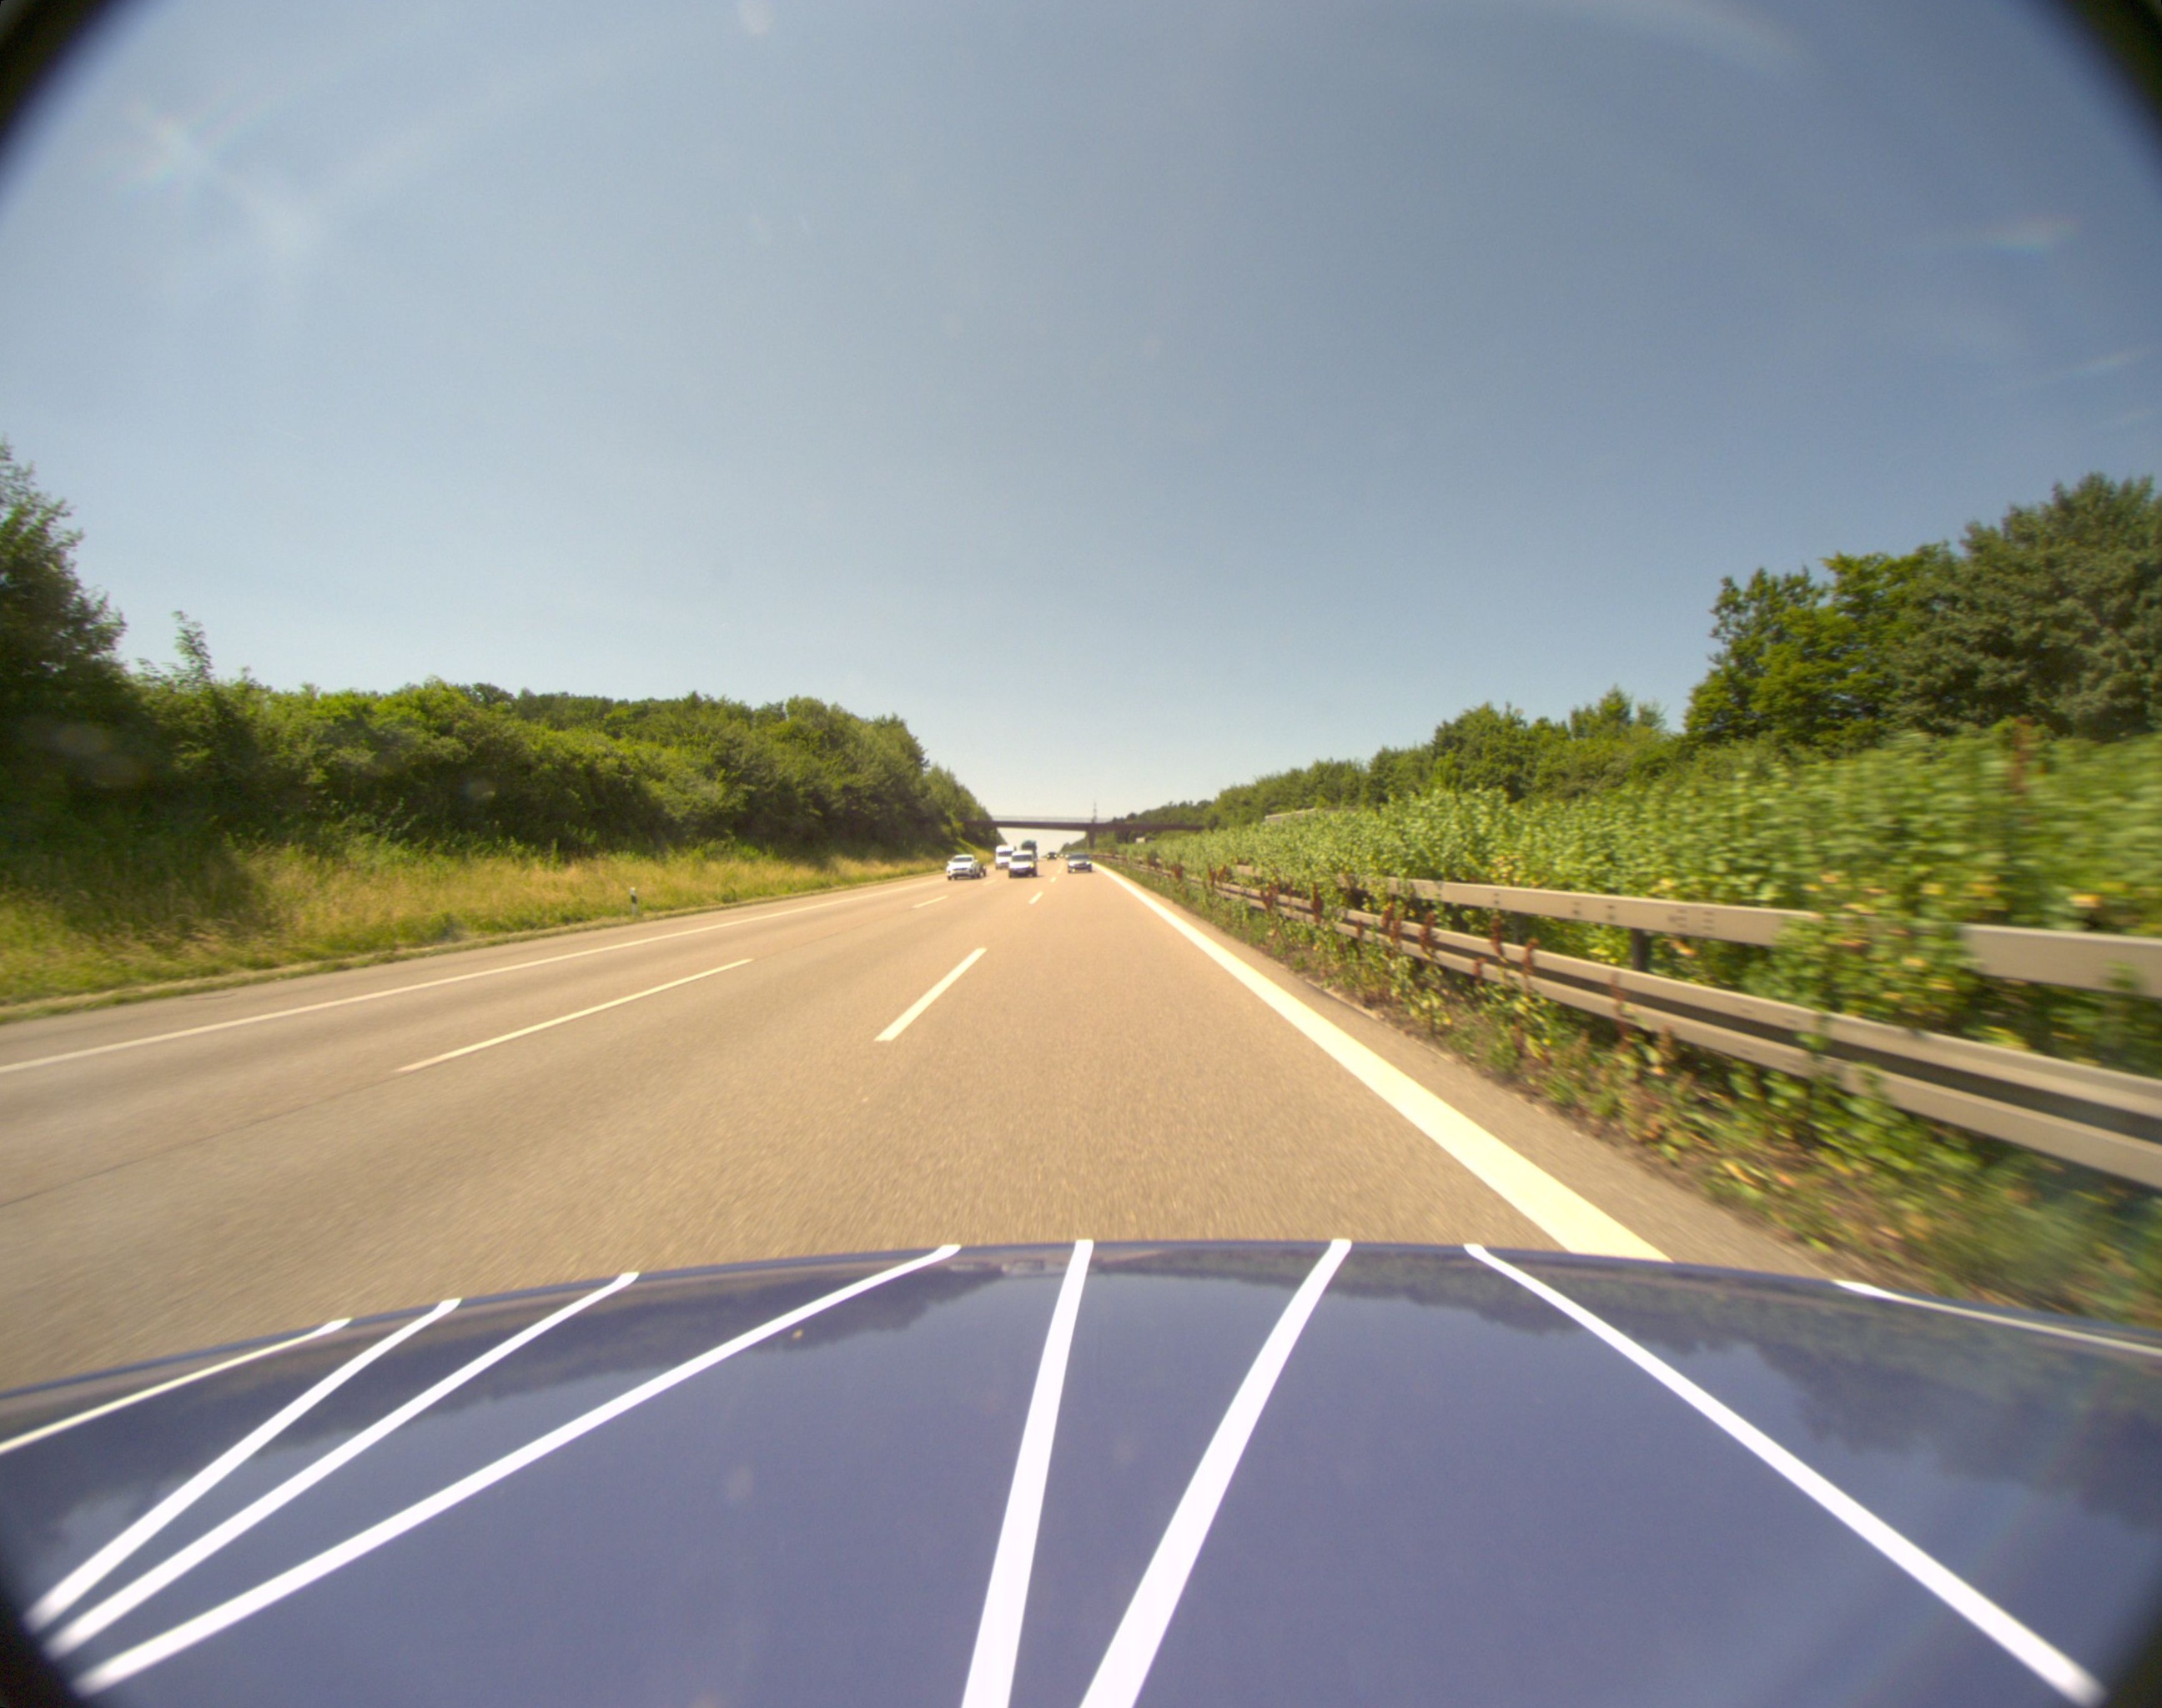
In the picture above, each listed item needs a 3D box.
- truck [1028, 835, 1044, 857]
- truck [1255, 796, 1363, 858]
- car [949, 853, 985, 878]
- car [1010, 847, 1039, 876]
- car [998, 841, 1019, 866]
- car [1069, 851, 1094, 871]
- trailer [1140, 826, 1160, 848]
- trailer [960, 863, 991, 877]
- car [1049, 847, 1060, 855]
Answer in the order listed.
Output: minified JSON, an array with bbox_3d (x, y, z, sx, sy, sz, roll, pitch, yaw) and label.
[{"bbox_3d":[-8.044,-1.424,135.326,2.517,3.819,4.890,-2,0,-6],"label":"truck"},{"bbox_3d":[16.977,-1.853,58.512,2.983,3.990,16.824,-2,0,-1],"label":"truck"},{"bbox_3d":[-7.795,0.786,52.285,1.786,1.641,4.403,-2,-1,-1],"label":"car"},{"bbox_3d":[-3.827,0.505,52.052,1.750,1.819,4.799,-2,0,-3],"label":"car"},{"bbox_3d":[-7.816,0.006,81.997,2.095,2.560,6.619,-2,-1,-5],"label":"car"},{"bbox_3d":[0.022,0.508,57.937,1.768,1.400,3.999,-2,-1,-1],"label":"car"},{"bbox_3d":[15.350,-3.657,169.754,2.641,4.228,14.675,-2,0,-1],"label":"trailer"},{"bbox_3d":[-7.833,1.169,56.642,1.759,0.903,4.319,-2,0,-1],"label":"trailer"},{"bbox_3d":[-5.286,-0.619,151.152,1.788,1.550,3.941,-2,-1,-6],"label":"car"}]
